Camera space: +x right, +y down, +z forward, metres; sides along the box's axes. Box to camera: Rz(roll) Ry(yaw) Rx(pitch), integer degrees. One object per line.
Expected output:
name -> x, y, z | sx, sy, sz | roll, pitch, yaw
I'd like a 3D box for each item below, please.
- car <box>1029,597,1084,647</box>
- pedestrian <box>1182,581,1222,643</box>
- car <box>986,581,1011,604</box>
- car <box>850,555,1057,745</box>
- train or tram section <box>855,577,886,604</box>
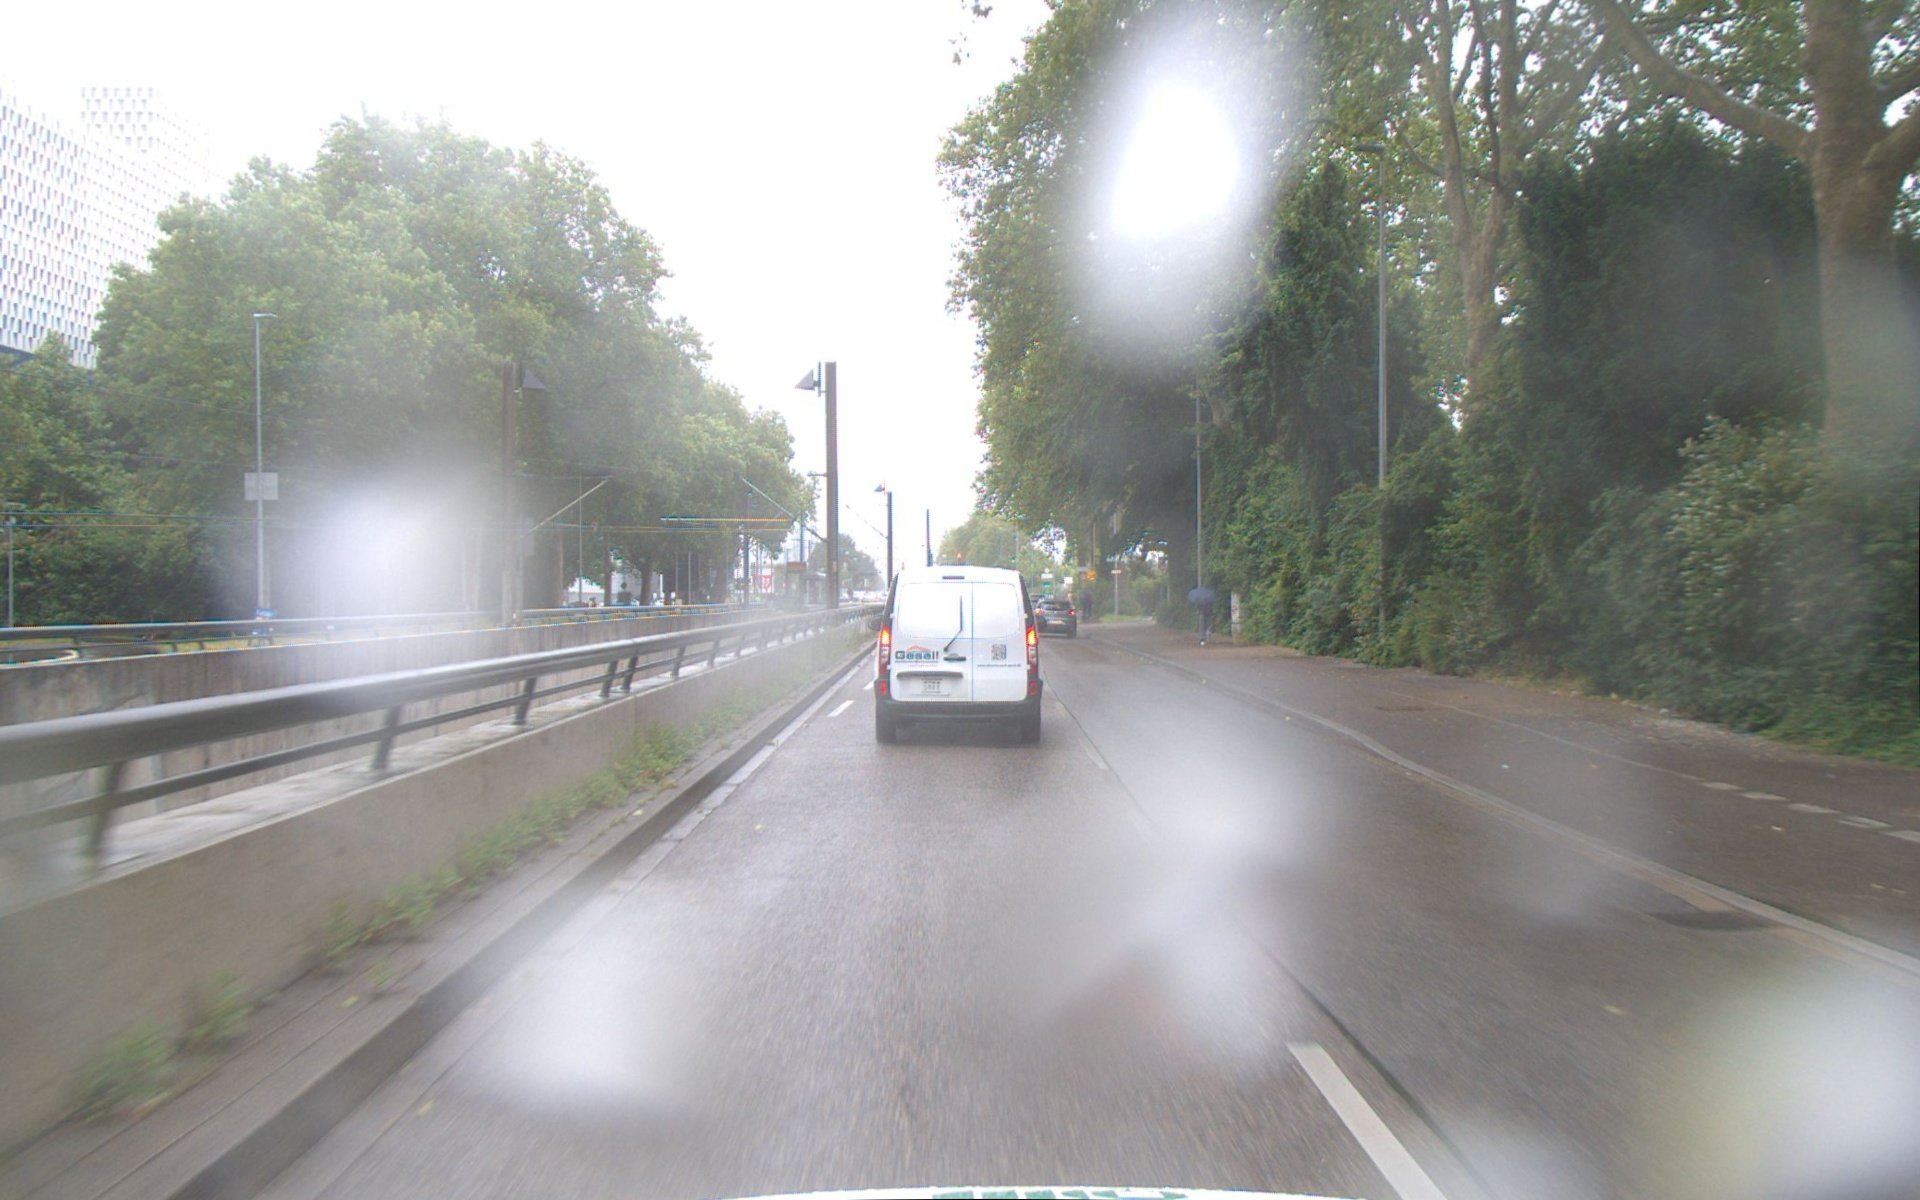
car -> 3.676, 0.813, 62.696 | 1.952, 1.780, 4.002 | 2, 0, 4
pedestrian -> 6.939, 0.339, 47.483 | 0.947, 1.732, 1.141 | 1, 0, 0
car -> 3.149, -0.593, 135.137 | 1.952, 1.780, 4.000 | 2, 0, 1
car -> -0.096, 0.488, 18.341 | 1.984, 1.806, 4.273 | 2, 0, -1
train or tram section -> -14.131, -1.451, 263.741 | 3.693, 4.107, 27.089 | 2, 0, -1
